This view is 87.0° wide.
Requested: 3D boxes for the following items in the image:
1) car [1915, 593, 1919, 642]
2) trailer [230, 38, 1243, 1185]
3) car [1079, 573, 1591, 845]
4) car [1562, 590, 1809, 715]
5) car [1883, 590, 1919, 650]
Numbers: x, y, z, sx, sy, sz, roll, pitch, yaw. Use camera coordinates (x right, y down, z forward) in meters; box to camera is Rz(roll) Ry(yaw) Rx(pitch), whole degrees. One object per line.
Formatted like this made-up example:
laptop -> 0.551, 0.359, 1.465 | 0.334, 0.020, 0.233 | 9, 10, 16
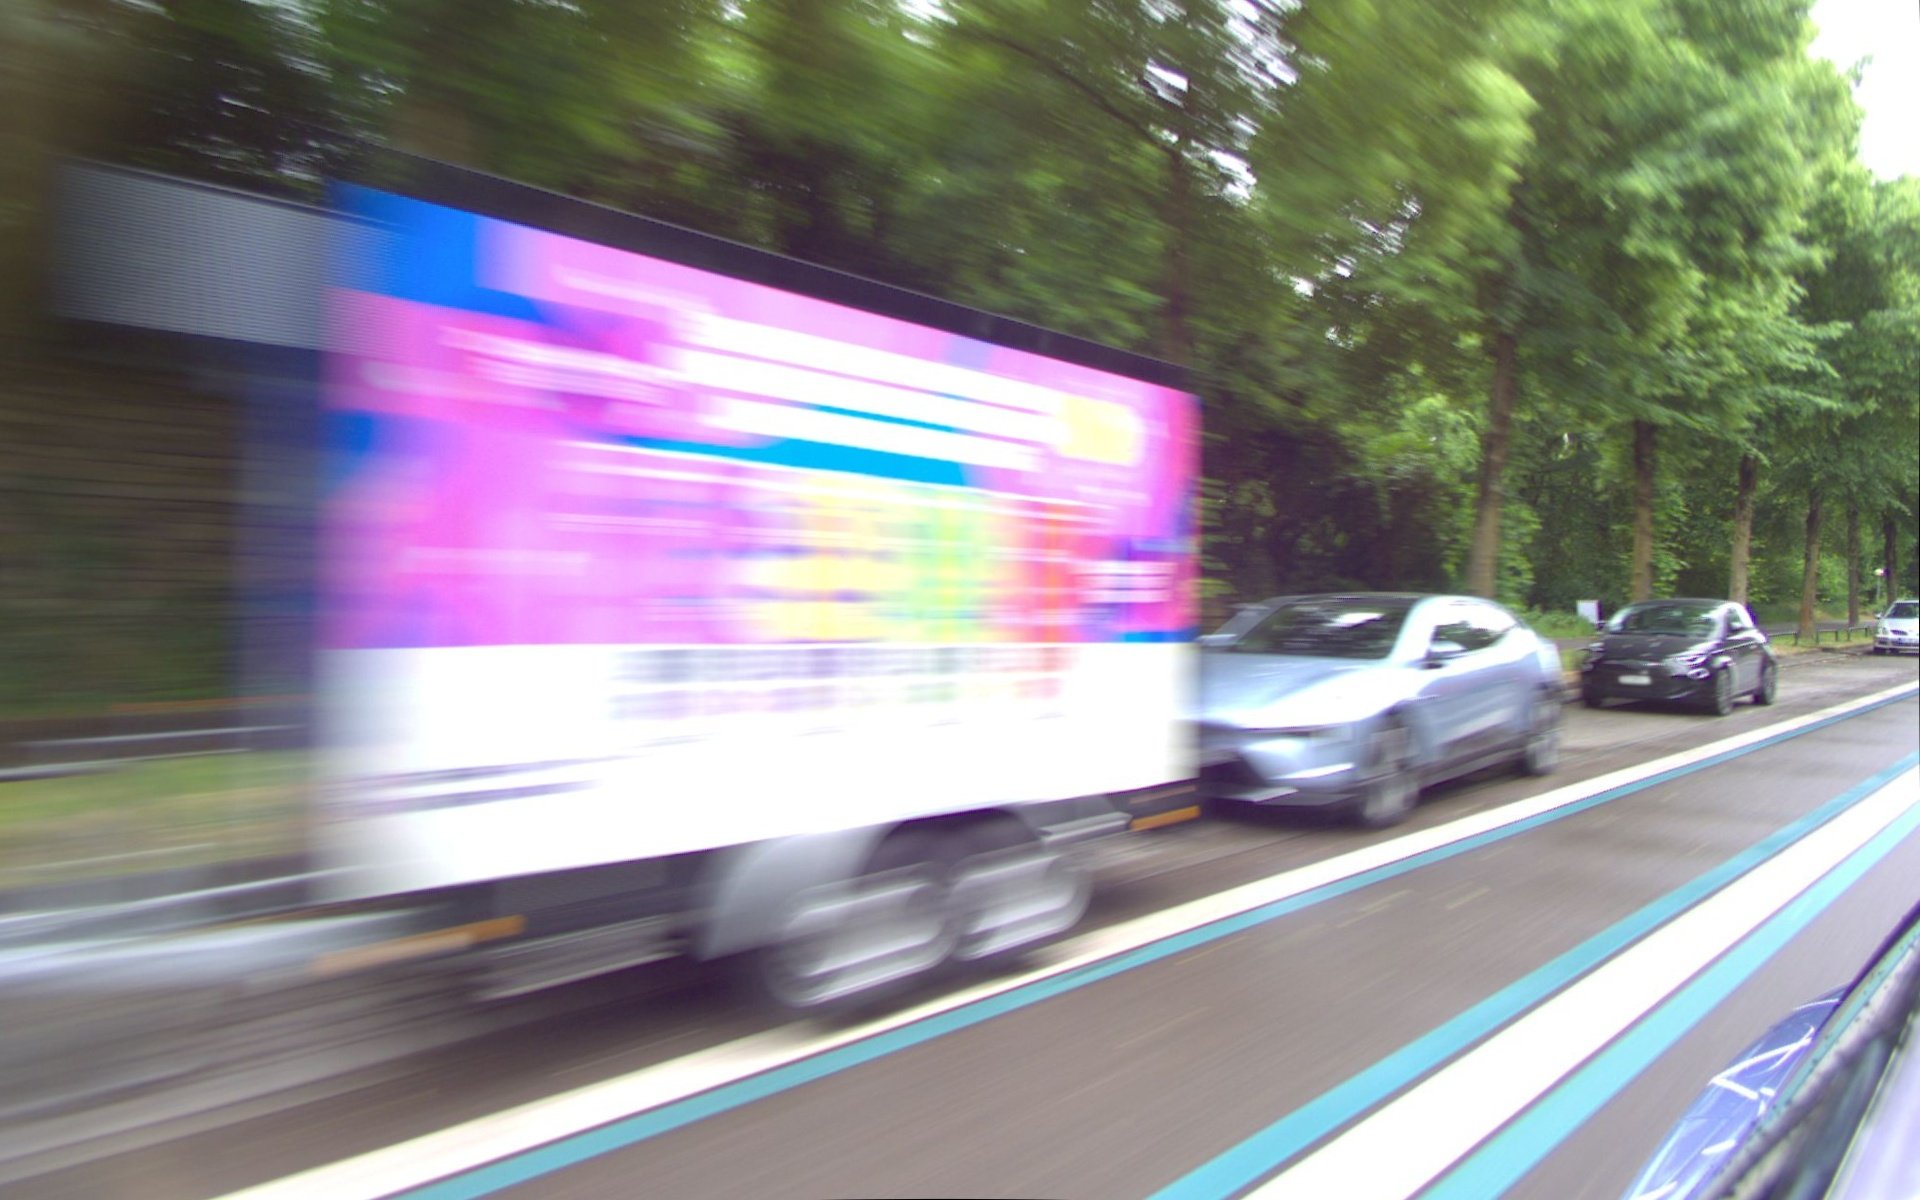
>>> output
car -> 32.329, 0.544, 32.530 | 4.387, 1.533, 1.702 | 0, 0, -38
trailer -> -0.742, 0.011, 4.482 | 3.935, 2.793, 1.957 | 0, 0, -39
car -> 3.221, 0.610, 8.111 | 4.673, 1.567, 1.902 | 0, 1, -42
car -> 10.555, 0.631, 14.601 | 4.489, 1.522, 1.829 | 0, 1, -40
car -> 27.816, 0.525, 28.742 | 4.655, 1.617, 1.757 | 0, 0, -40
